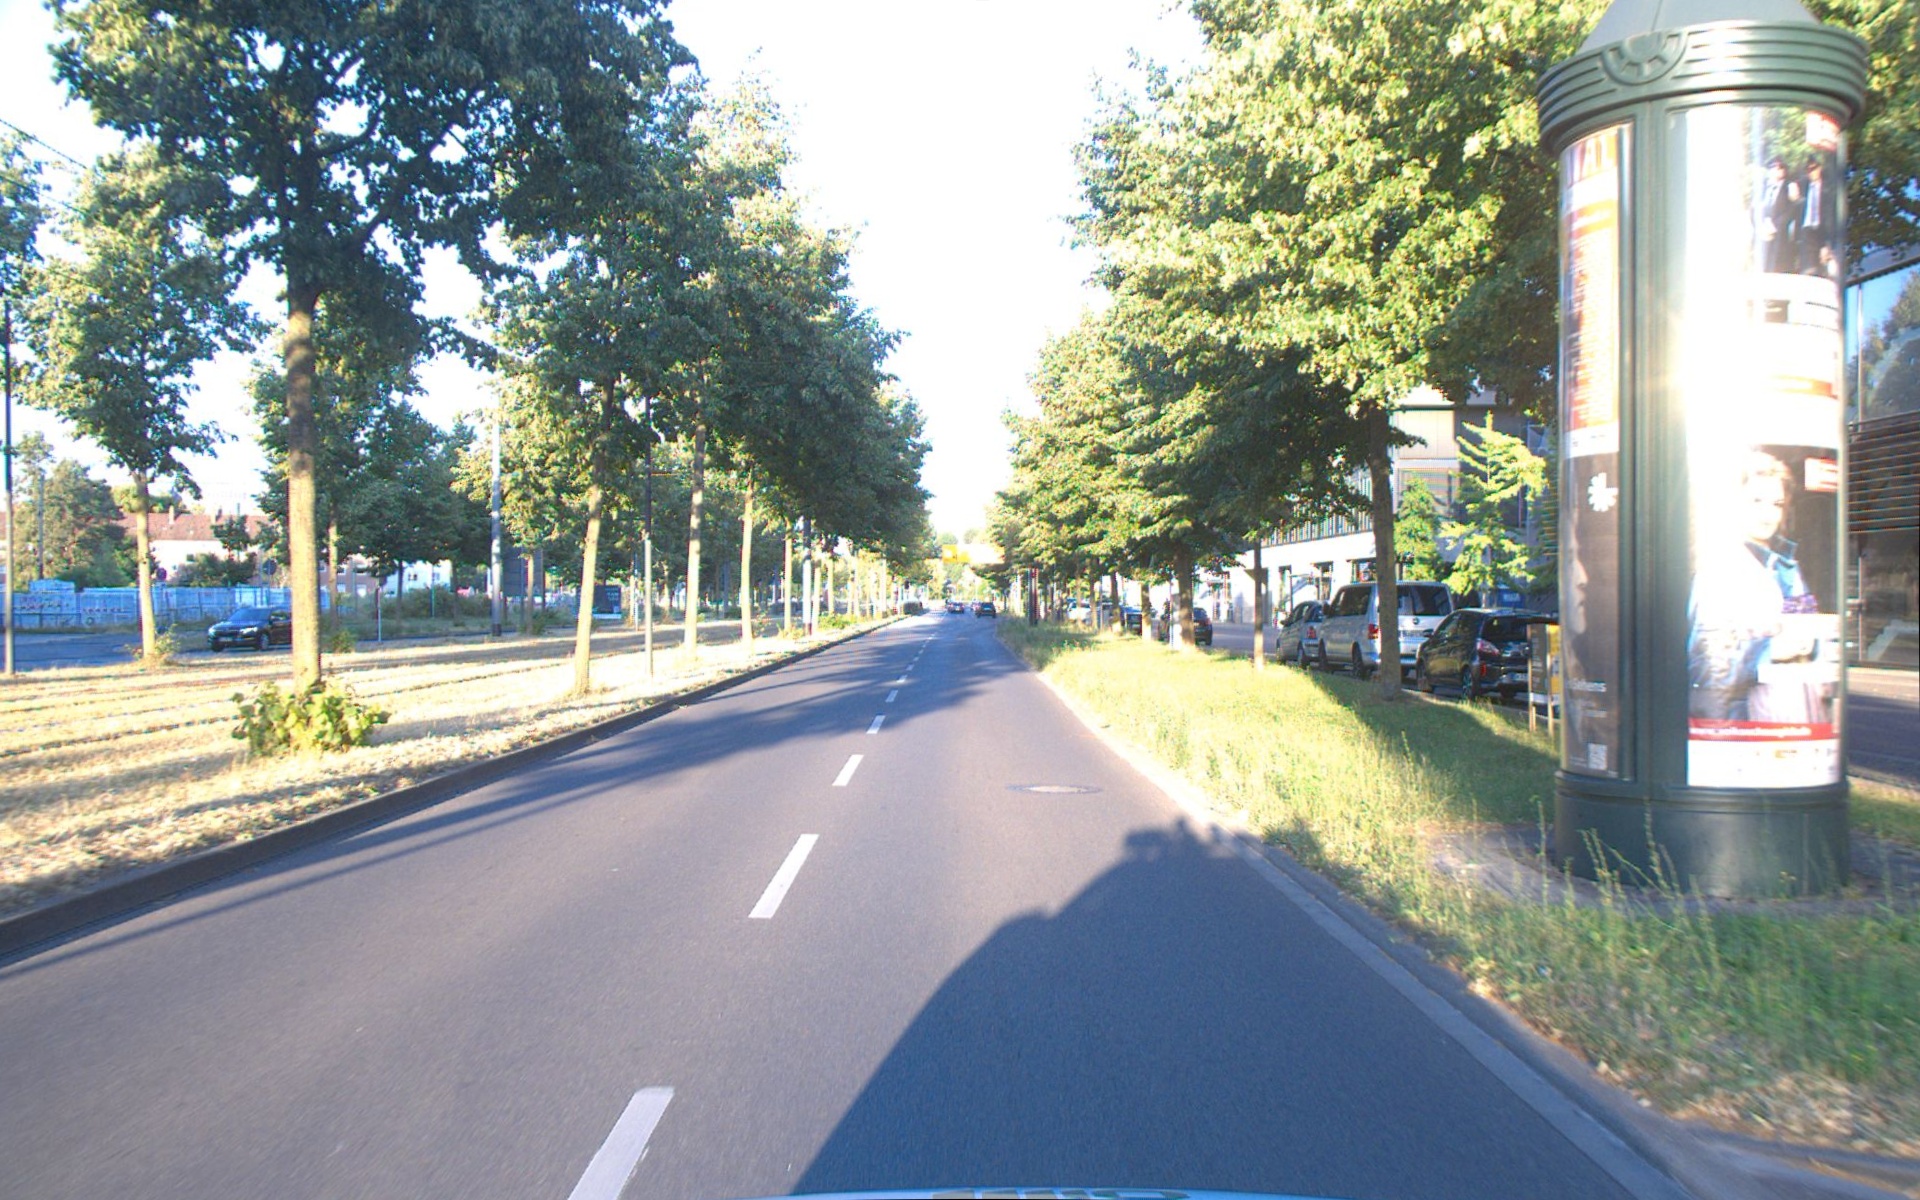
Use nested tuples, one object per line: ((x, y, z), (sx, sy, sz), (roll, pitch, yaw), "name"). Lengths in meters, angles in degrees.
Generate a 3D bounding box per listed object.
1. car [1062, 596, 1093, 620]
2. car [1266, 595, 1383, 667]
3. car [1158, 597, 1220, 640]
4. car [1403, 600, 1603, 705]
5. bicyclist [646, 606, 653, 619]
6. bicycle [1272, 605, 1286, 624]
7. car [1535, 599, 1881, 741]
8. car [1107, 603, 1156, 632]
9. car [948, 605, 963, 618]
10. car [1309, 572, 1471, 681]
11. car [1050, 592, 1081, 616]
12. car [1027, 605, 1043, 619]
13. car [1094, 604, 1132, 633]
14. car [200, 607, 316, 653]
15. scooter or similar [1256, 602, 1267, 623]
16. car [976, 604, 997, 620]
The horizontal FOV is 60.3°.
((8.412, 0.578, 118.682), (1.952, 1.671, 4.878), (0, 0, 1), "car")
((8.643, 0.705, 39.524), (1.801, 1.598, 4.060), (1, 0, -1), "car")
((8.727, 0.687, 63.266), (1.744, 1.520, 4.000), (3, 0, 0), "car")
((8.671, 0.780, 26.805), (1.821, 1.523, 4.290), (1, 0, 0), "car")
((-35.319, 1.387, 187.966), (0.607, 1.482, 0.937), (0, -1, -2), "bicyclist")
((18.235, 0.838, 94.442), (0.444, 1.046, 1.392), (0, 0, 26), "bicycle")
((9.019, 0.761, 20.517), (1.878, 1.523, 5.039), (1, 0, -2), "car")
((8.667, 0.873, 83.736), (1.815, 1.391, 4.832), (0, 0, -2), "car")
((-0.563, 1.403, 201.732), (1.873, 1.512, 3.999), (0, 0, -1), "car")
((8.602, 0.502, 33.549), (1.946, 2.024, 4.931), (1, 0, -1), "car")
((8.315, 0.295, 130.896), (1.953, 1.884, 4.663), (0, 0, -2), "car")
((7.981, 1.283, 176.931), (1.543, 1.498, 3.881), (0, 0, 0), "car")
((8.669, 1.042, 94.064), (1.675, 1.542, 3.758), (2, 0, -1), "car")
((-23.828, 0.990, 56.330), (1.890, 1.447, 4.390), (0, 0, 3), "car")
((18.242, 0.759, 100.211), (0.462, 1.232, 1.229), (0, 0, 1), "scooter or similar")
((2.554, 1.136, 159.021), (1.873, 1.512, 3.999), (0, 0, -1), "car")
